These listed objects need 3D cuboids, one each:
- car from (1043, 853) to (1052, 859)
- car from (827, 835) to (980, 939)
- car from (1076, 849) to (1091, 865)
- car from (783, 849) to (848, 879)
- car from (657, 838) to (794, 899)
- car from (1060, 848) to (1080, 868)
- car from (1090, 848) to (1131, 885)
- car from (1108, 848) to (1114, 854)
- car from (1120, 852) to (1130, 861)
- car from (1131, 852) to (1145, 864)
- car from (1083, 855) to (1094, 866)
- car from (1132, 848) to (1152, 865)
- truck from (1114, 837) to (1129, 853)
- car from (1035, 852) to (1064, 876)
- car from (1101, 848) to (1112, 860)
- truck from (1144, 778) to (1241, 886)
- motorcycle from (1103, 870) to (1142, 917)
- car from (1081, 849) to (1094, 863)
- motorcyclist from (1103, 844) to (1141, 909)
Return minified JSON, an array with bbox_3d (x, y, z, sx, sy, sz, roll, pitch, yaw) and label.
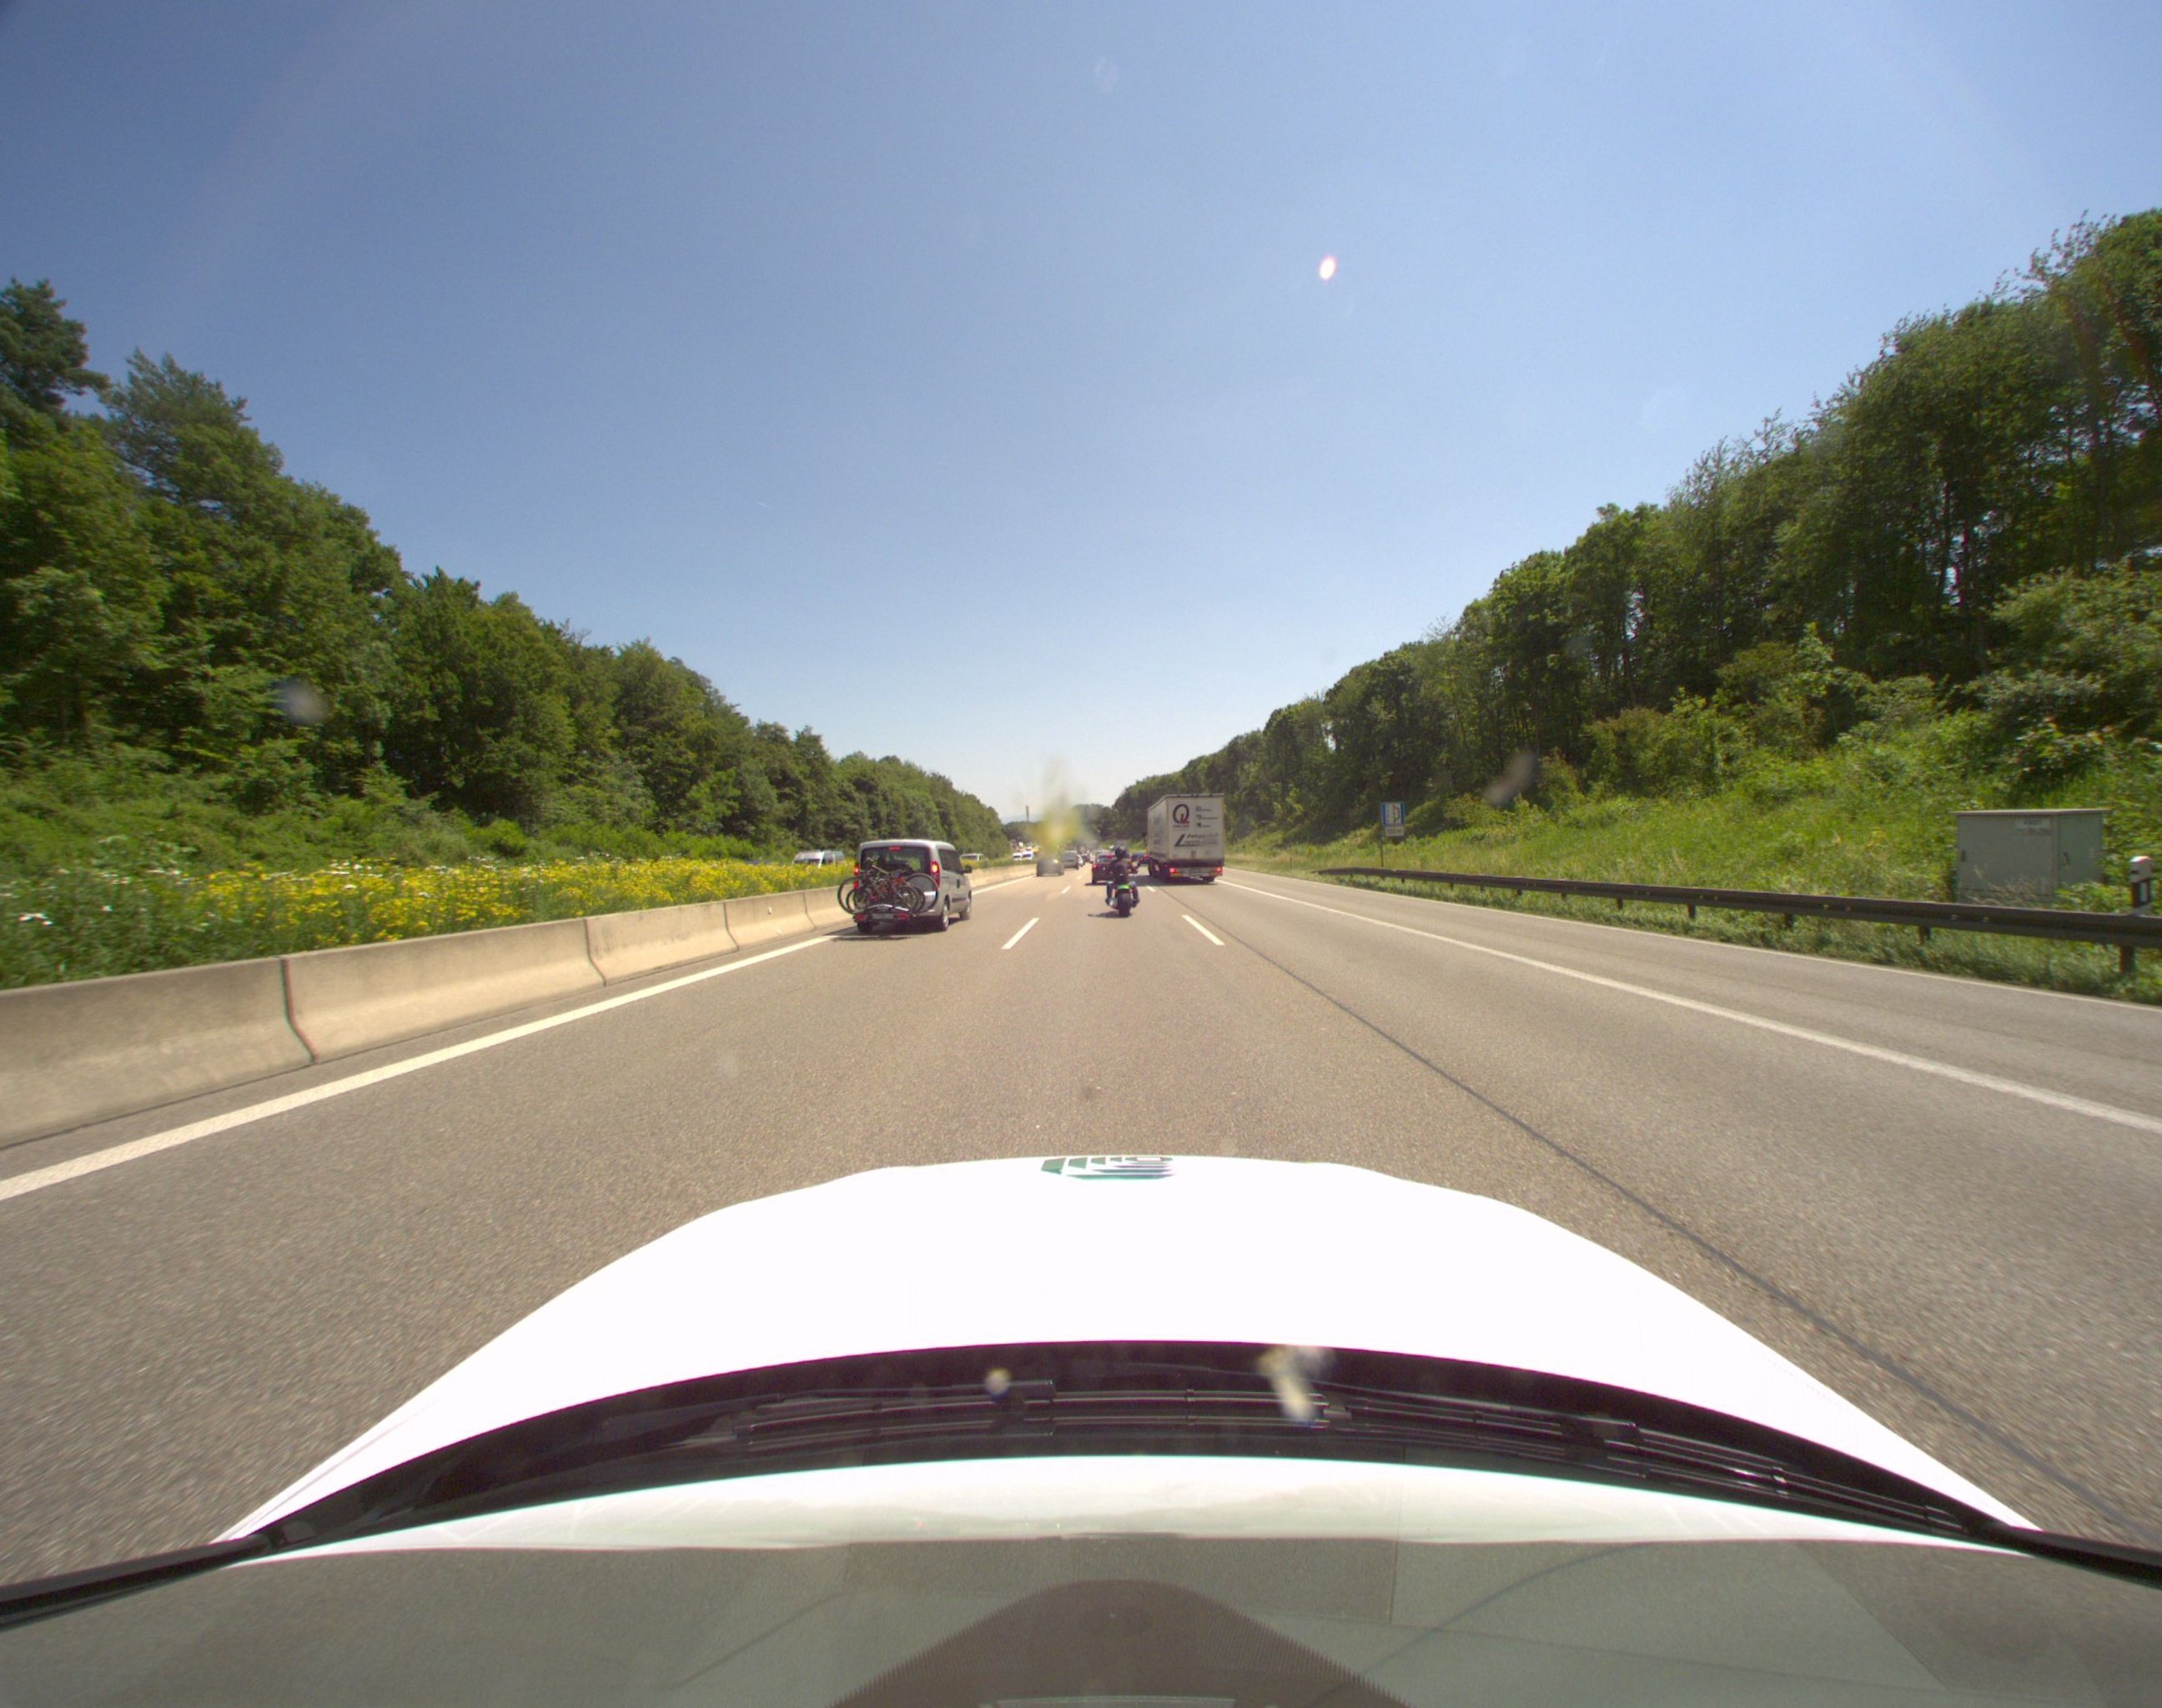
[{"bbox_3d":[-9.050,0.605,220.289,1.904,1.689,4.835,0,0,3],"label":"car"},{"bbox_3d":[-3.523,0.581,17.312,1.891,1.848,5.484,-1,0,1],"label":"car"},{"bbox_3d":[0.324,0.395,102.096,1.824,1.810,4.121,-1,1,1],"label":"car"},{"bbox_3d":[-16.524,0.615,51.078,2.036,1.807,5.510,0,0,3],"label":"car"},{"bbox_3d":[-10.764,0.412,25.094,1.842,1.689,4.899,0,0,3],"label":"car"},{"bbox_3d":[-1.090,0.401,82.226,1.824,1.810,4.121,-1,1,1],"label":"car"},{"bbox_3d":[1.402,0.542,39.385,1.839,1.557,4.441,-1,1,1],"label":"car"},{"bbox_3d":[8.555,-0.775,232.067,1.824,1.558,4.121,-1,1,1],"label":"car"},{"bbox_3d":[8.414,0.515,155.934,1.824,1.558,4.121,-1,1,1],"label":"car"},{"bbox_3d":[7.897,0.510,112.860,1.824,1.558,4.121,-1,1,1],"label":"car"},{"bbox_3d":[1.340,1.087,140.489,1.824,1.810,4.121,-1,1,1],"label":"car"},{"bbox_3d":[6.183,0.198,82.826,1.824,1.558,4.121,-1,1,1],"label":"car"},{"bbox_3d":[8.816,-1.978,177.587,3.056,3.346,9.656,0,1,2],"label":"truck"},{"bbox_3d":[-2.236,0.680,58.719,1.751,1.543,4.397,-1,1,1],"label":"car"},{"bbox_3d":[4.139,0.024,132.161,1.824,1.810,4.121,-1,1,1],"label":"car"},{"bbox_3d":[5.510,-1.130,44.246,3.371,4.717,17.717,0,1,2],"label":"truck"},{"bbox_3d":[0.998,0.920,19.607,0.859,0.982,2.132,-1,1,2],"label":"motorcycle"},{"bbox_3d":[0.906,0.303,118.206,1.824,1.810,4.121,-1,1,1],"label":"car"},{"bbox_3d":[0.976,0.521,19.561,0.852,1.515,0.914,-1,0,2],"label":"motorcyclist"}]
